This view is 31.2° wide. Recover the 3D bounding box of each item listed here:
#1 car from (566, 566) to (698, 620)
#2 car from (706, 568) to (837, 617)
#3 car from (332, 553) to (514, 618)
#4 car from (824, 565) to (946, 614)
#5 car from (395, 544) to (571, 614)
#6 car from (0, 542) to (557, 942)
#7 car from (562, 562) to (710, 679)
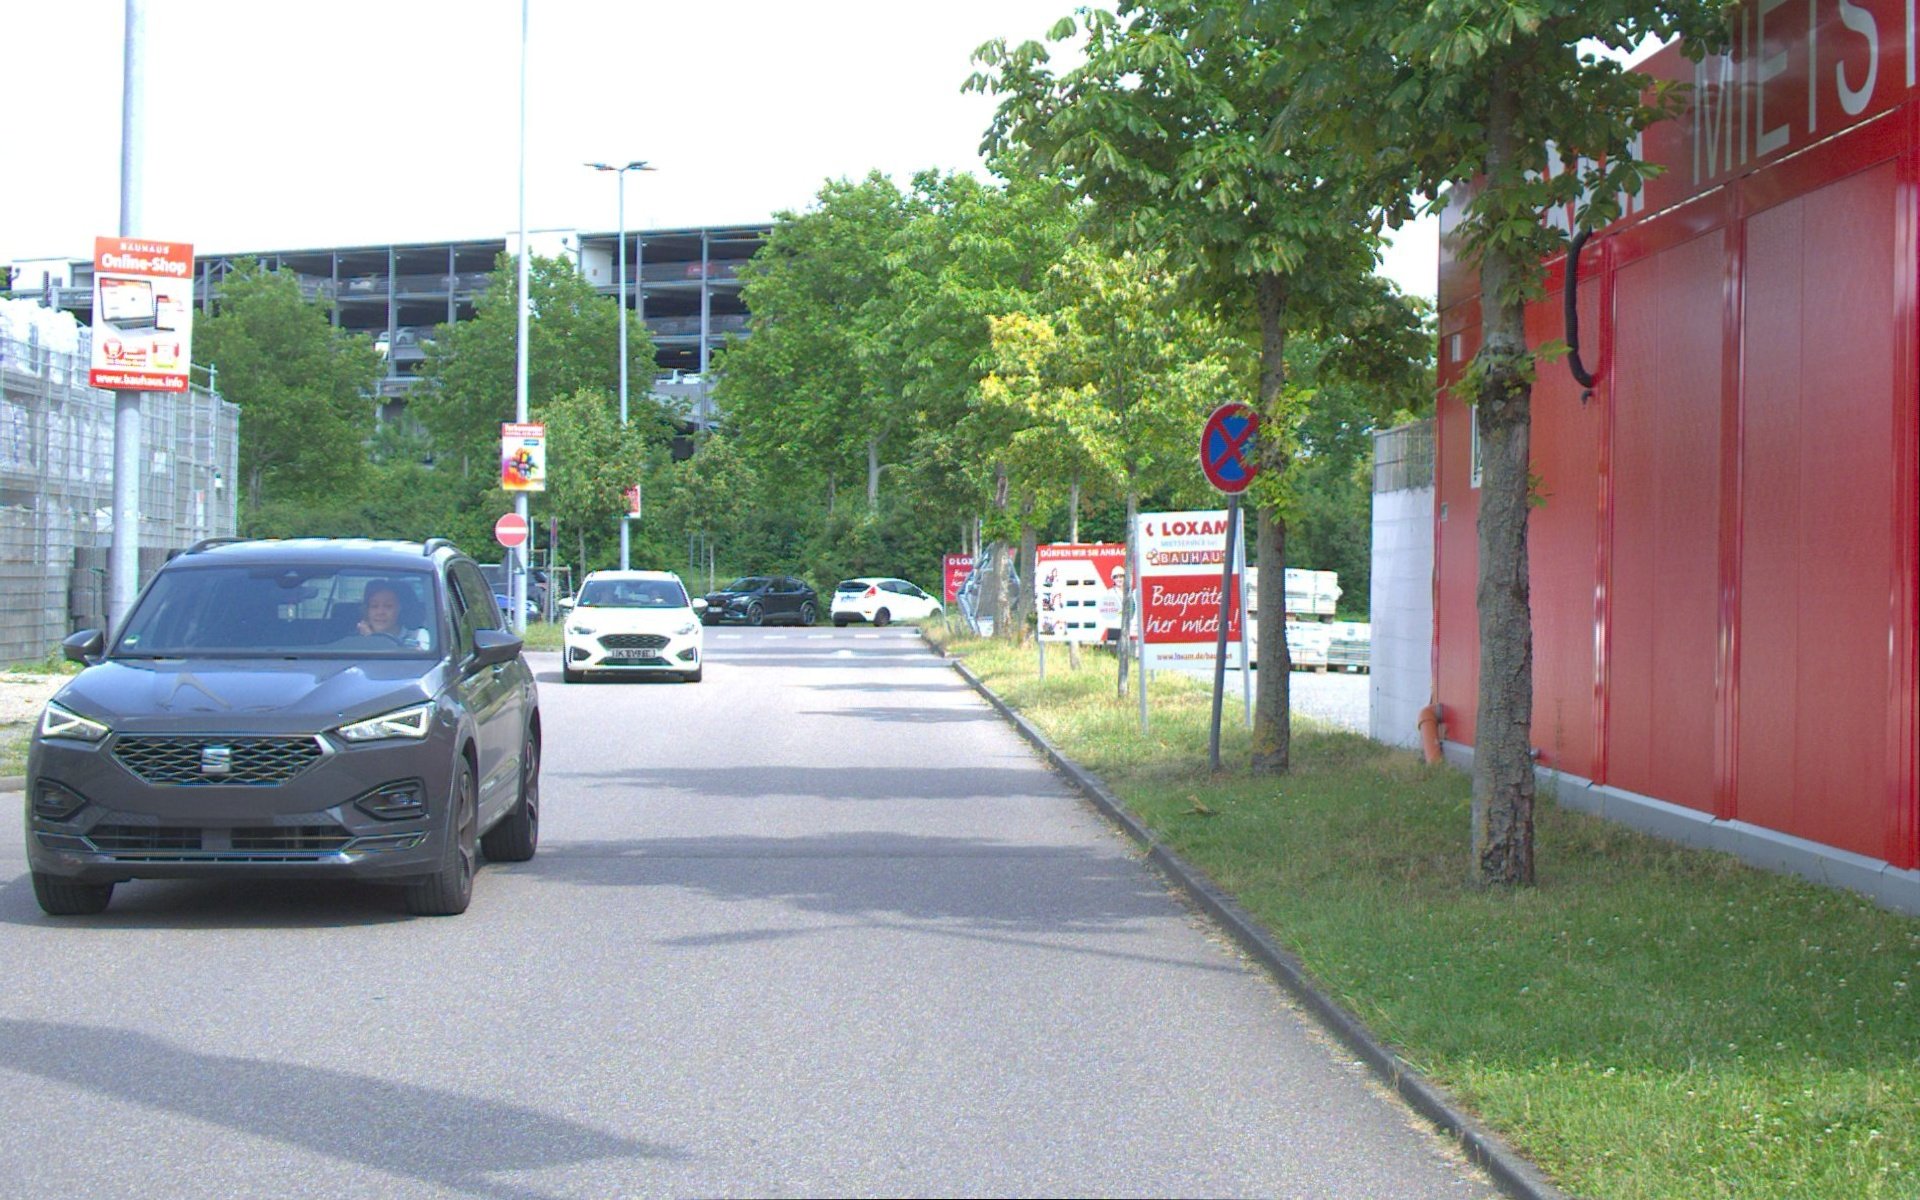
[{"bbox_3d":[-10.031,-0.207,105.281,1.688,1.505,4.073,-5,-3,36],"label":"car"},{"bbox_3d":[-5.588,-0.227,102.451,1.731,1.405,4.235,1,1,33],"label":"car"},{"bbox_3d":[-11.688,-0.322,74.983,3.750,1.363,1.621,1,1,-2],"label":"car"},{"bbox_3d":[-2.163,-0.308,100.064,1.668,1.407,3.550,1,1,37],"label":"car"},{"bbox_3d":[-11.378,-0.504,82.102,3.950,1.619,1.736,1,0,0],"label":"car"},{"bbox_3d":[-3.085,0.543,16.208,1.915,1.612,4.374,0,1,-1],"label":"car"},{"bbox_3d":[-4.312,0.234,46.264,1.803,1.459,4.329,1,1,-3],"label":"car"}]
